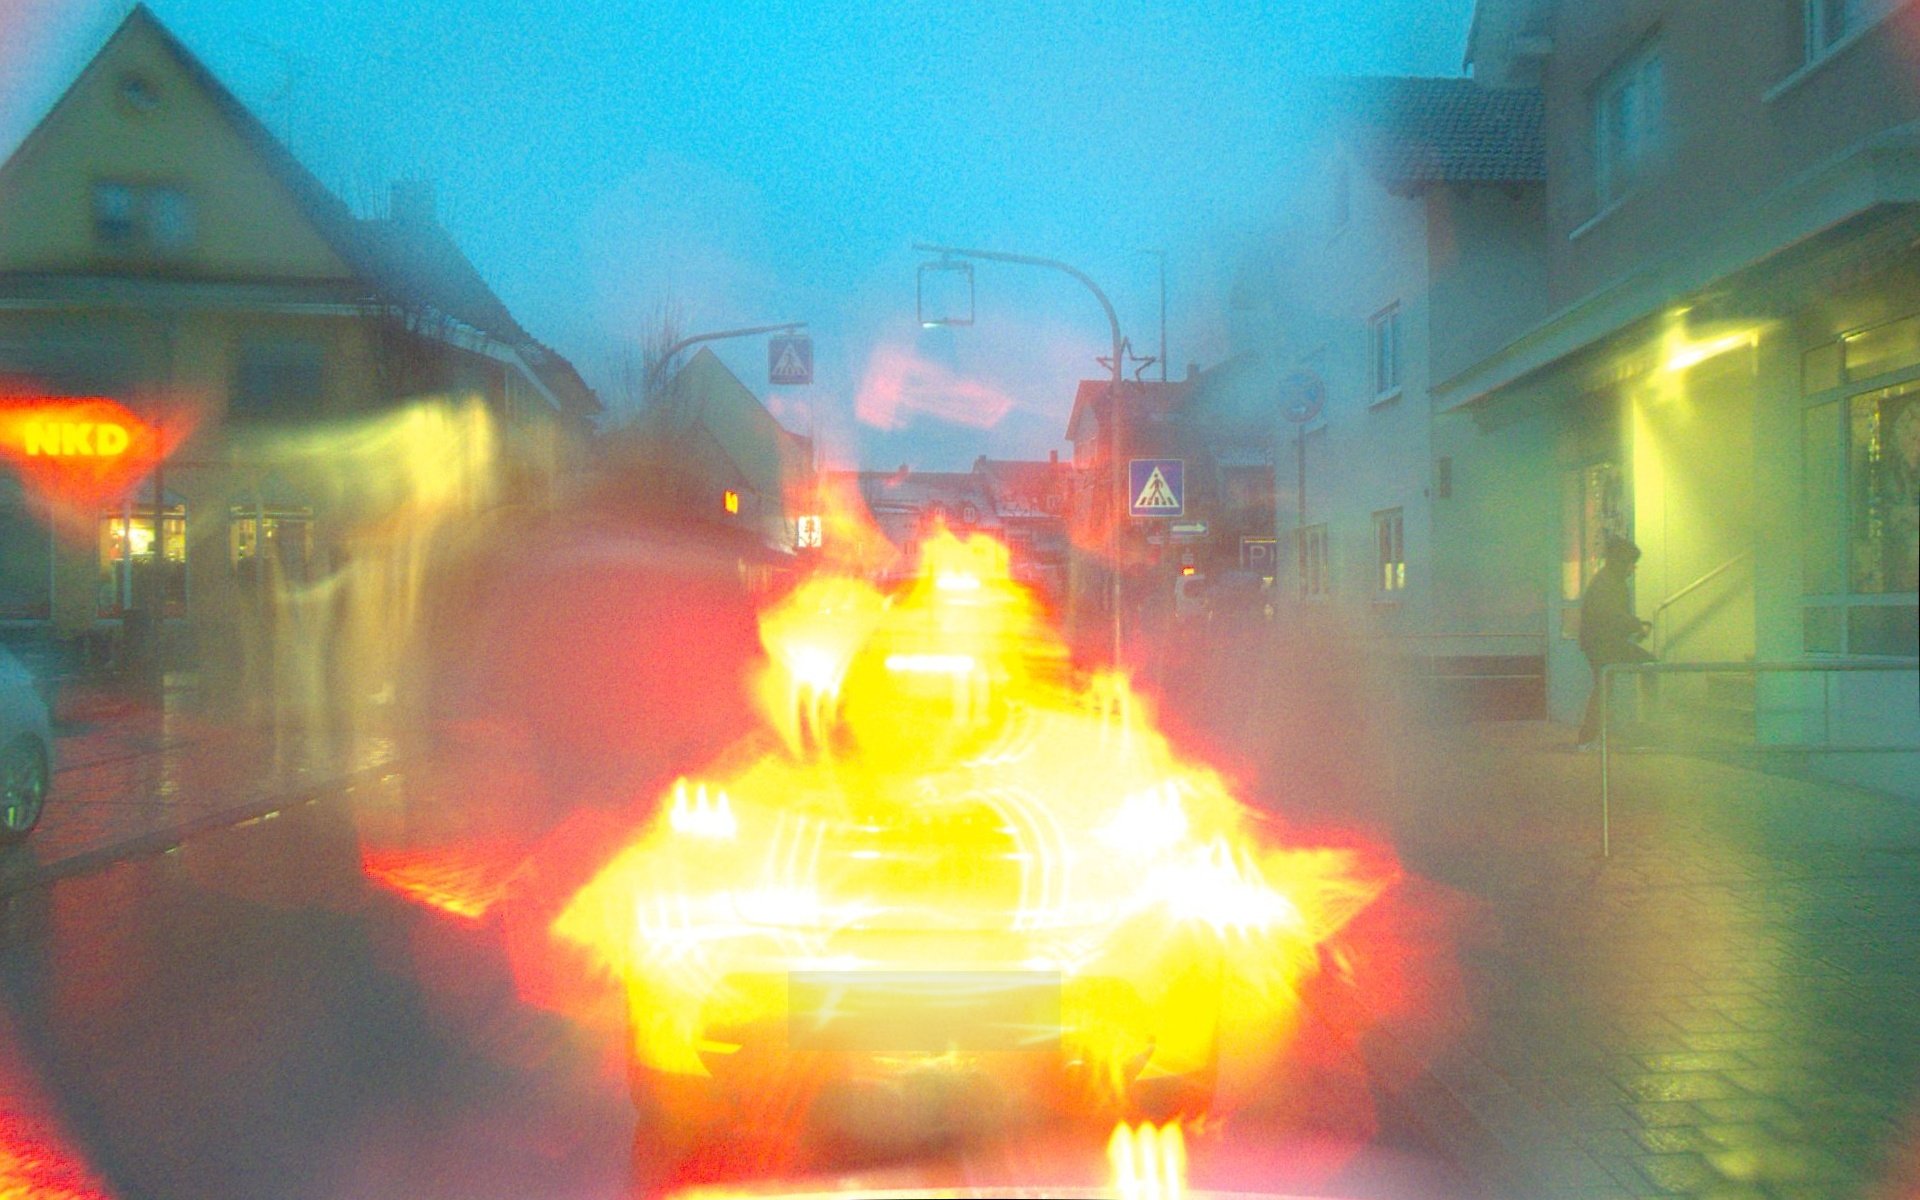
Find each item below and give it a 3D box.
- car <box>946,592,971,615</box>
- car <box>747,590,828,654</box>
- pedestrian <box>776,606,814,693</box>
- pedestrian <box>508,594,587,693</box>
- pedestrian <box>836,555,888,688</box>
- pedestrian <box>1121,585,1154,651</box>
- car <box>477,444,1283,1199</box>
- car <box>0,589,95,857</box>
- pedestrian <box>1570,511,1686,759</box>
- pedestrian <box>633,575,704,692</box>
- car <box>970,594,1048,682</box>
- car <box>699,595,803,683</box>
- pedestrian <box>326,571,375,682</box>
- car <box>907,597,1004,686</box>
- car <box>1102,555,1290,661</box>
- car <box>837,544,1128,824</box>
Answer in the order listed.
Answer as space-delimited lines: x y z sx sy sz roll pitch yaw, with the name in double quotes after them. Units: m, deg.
-0.091 0.235 109.091 1.503 1.266 3.648 -5 1 1 "car"
-4.952 0.607 47.972 1.953 1.783 4.361 0 0 -1 "car"
-2.399 0.711 24.101 0.542 1.254 0.433 0 0 -5 "pedestrian"
-6.486 0.682 26.028 0.872 1.442 0.776 6 -1 4 "pedestrian"
-1.432 0.308 24.206 0.689 1.909 0.616 1 1 -7 "pedestrian"
5.562 0.559 51.971 0.995 2.049 1.276 0 0 4 "pedestrian"
-0.115 0.511 6.345 1.952 1.827 4.650 0 1 2 "car"
-6.361 0.698 8.590 1.636 1.543 3.999 2 0 -1 "car"
5.356 0.274 13.306 0.649 1.921 0.824 1 -1 6 "pedestrian"
-4.552 0.514 25.931 0.954 1.773 0.961 1 1 -3 "pedestrian"
1.192 0.918 41.985 1.609 2.049 3.998 -2 1 -3 "car"
-5.123 0.914 41.050 1.952 2.049 4.362 0 0 1 "car"
-9.877 0.417 26.815 0.576 1.773 0.683 0 0 -6 "pedestrian"
-0.021 0.766 32.780 1.789 1.629 4.582 0 0 1 "car"
4.741 0.169 33.573 3.620 2.049 1.690 1 -1 2 "car"
0.161 0.525 12.101 1.761 1.691 4.000 1 0 1 "car"
